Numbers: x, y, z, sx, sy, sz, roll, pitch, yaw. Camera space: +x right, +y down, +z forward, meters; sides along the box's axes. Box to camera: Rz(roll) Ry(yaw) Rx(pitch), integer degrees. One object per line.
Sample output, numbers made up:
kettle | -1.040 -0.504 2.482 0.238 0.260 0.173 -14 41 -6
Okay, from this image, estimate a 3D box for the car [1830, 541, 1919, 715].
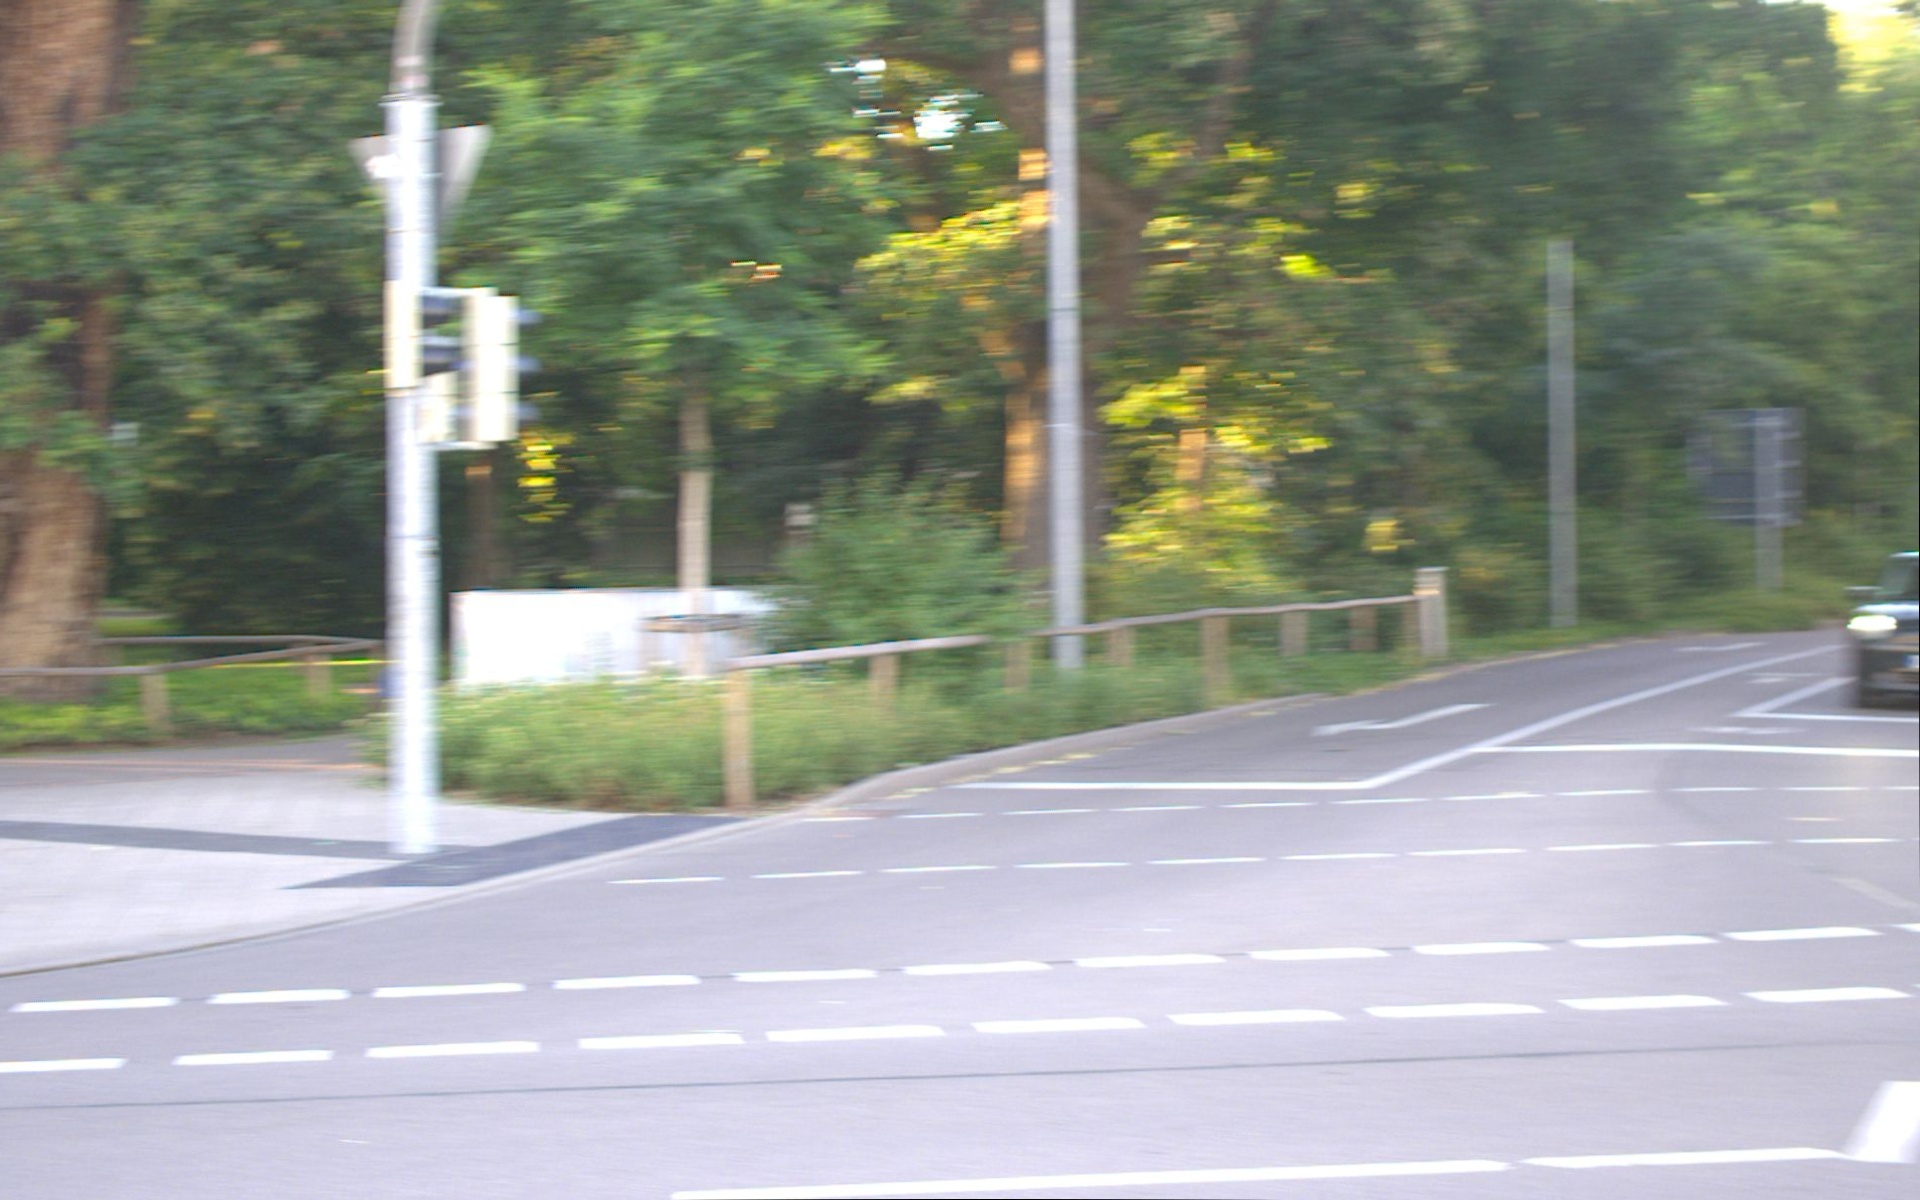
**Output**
car | 9.198 0.218 31.729 1.826 1.511 3.572 0 1 21
